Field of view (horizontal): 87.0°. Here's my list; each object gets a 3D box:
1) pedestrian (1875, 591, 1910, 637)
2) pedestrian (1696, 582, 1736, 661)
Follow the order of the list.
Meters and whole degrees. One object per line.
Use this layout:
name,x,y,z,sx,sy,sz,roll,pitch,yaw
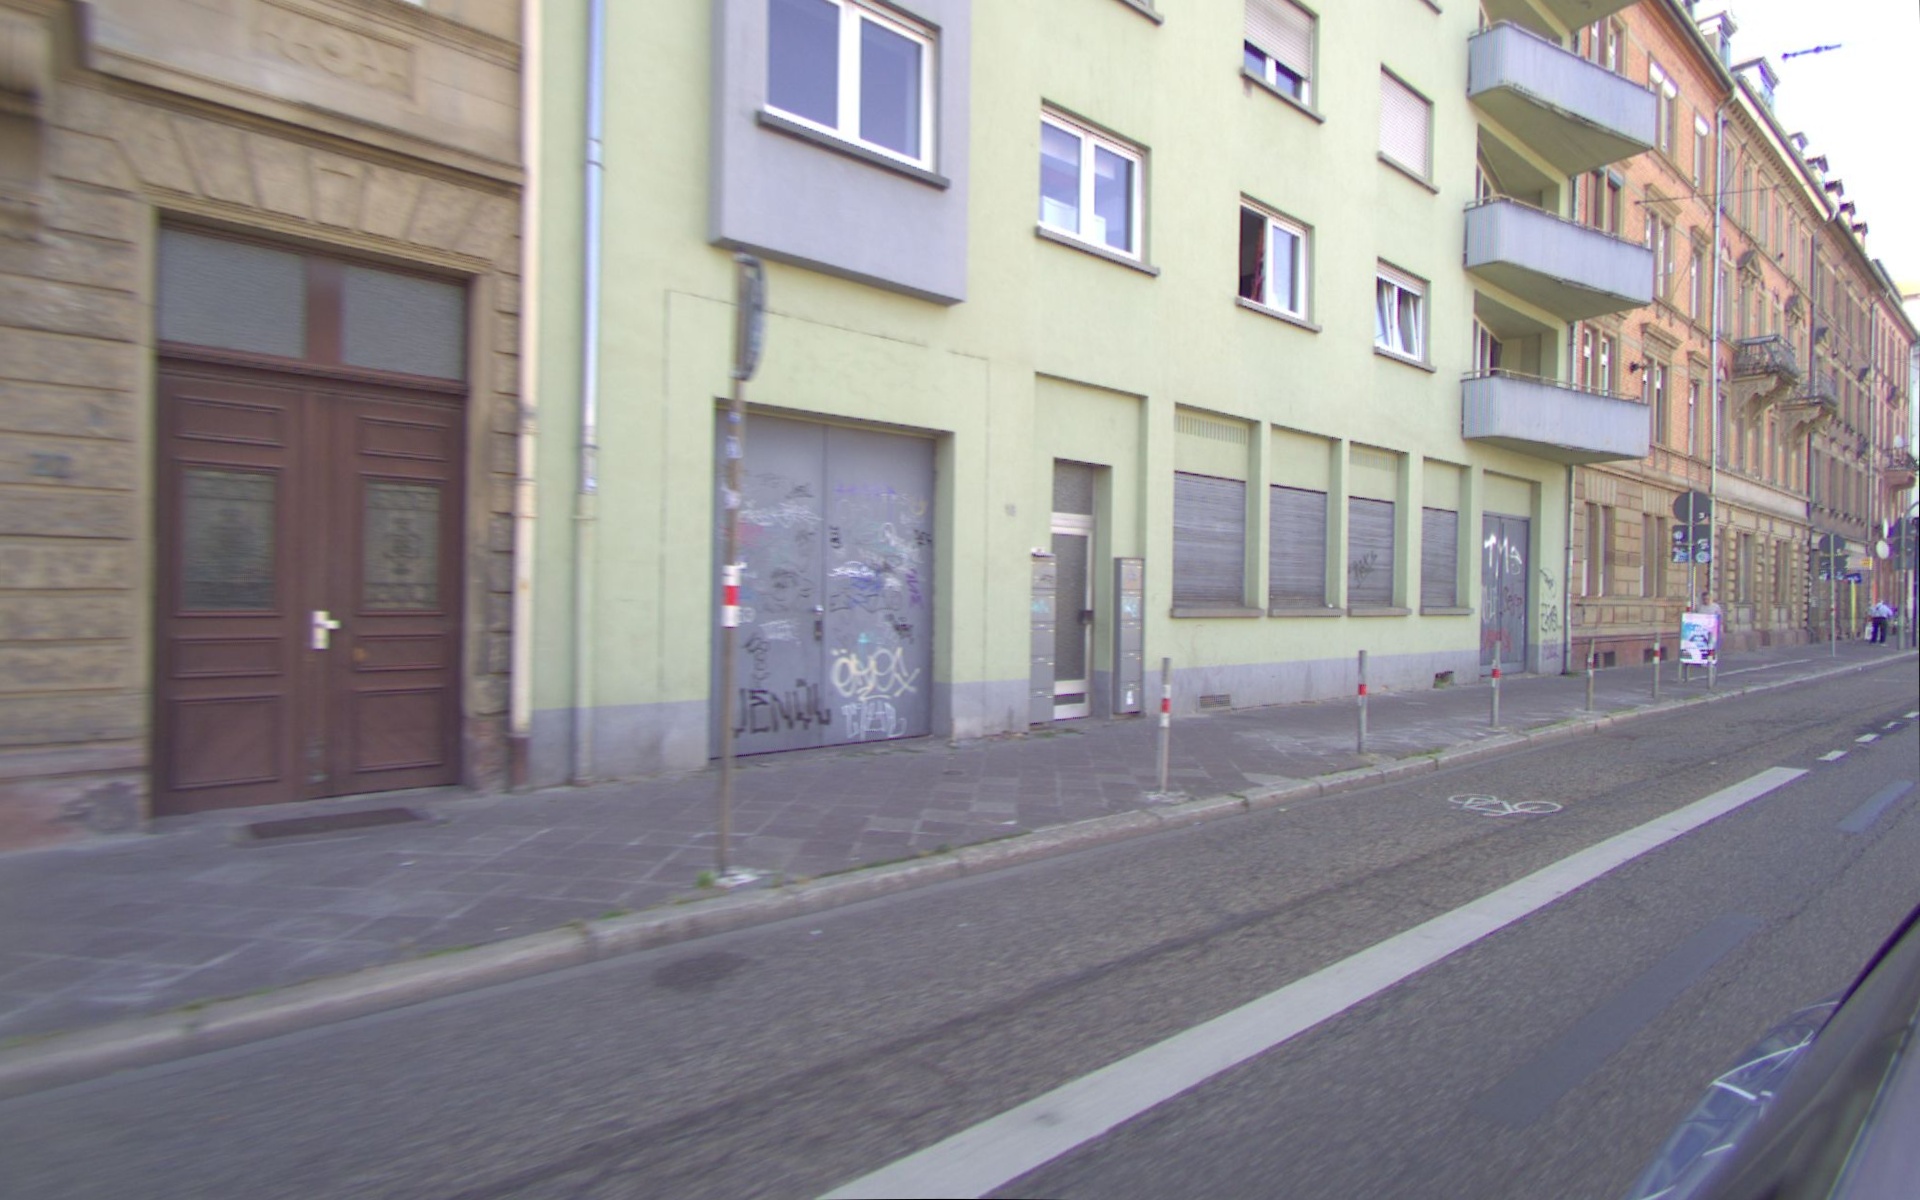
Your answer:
pedestrian,33.366,0.480,36.217,0.640,1.625,0.800,0,1,-38
pedestrian,16.813,0.462,22.502,0.465,1.721,0.554,0,3,-40
